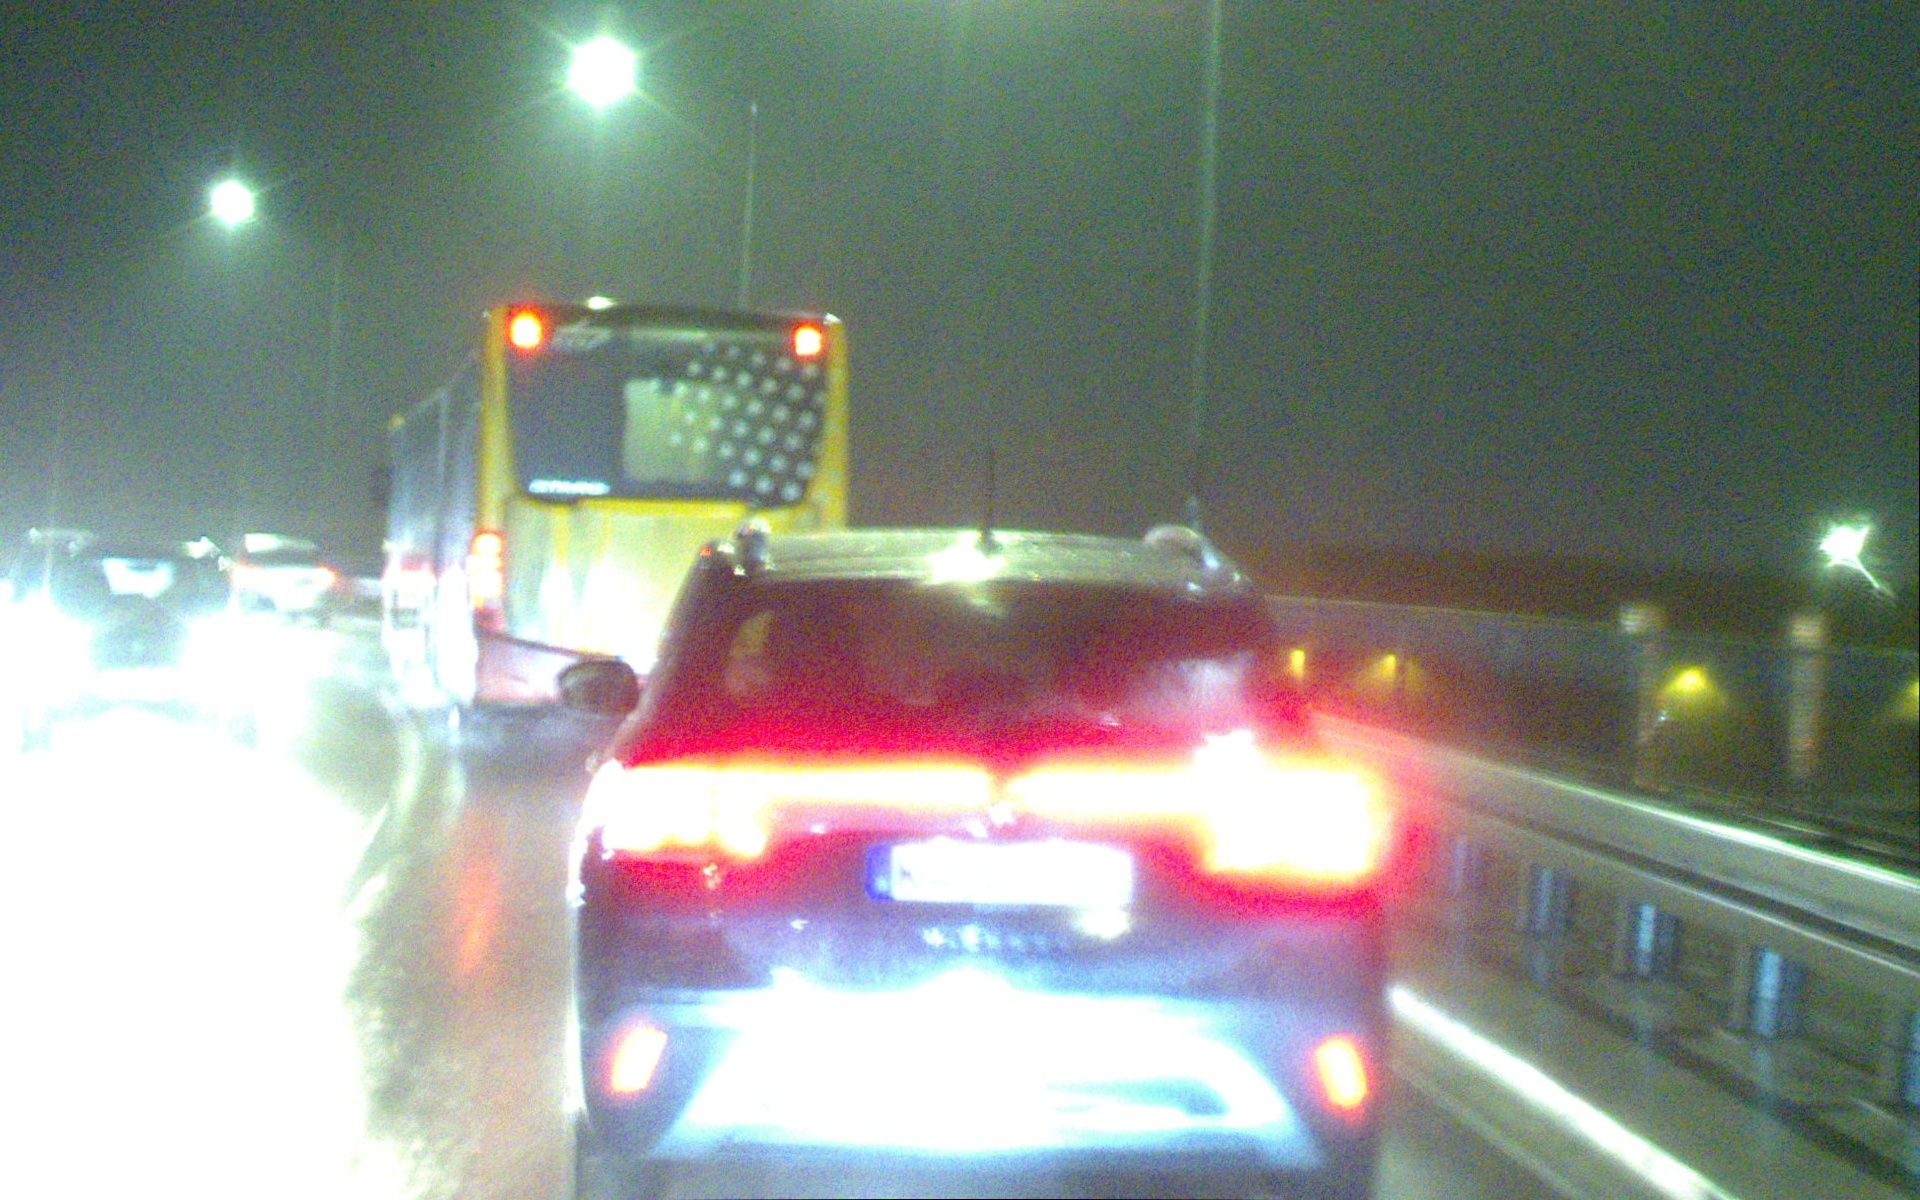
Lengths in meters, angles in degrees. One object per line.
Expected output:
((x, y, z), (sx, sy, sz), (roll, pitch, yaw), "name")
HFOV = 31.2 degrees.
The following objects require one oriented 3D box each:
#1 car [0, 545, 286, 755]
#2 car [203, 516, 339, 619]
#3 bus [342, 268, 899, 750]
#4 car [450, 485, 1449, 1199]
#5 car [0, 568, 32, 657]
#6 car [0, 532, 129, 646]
((-6.118, 0.320, 25.945), (1.895, 1.434, 4.064), (0, 1, -9), "car")
((-11.760, -0.544, 58.548), (1.636, 1.650, 3.711), (-2, 1, -21), "car")
((-3.321, -0.747, 28.769), (3.082, 3.122, 12.701), (1, 1, -13), "bus")
((-0.189, 0.588, 8.523), (1.855, 1.581, 4.001), (2, 0, -5), "car")
((-17.082, 0.190, 59.538), (1.814, 1.399, 4.049), (0, 2, -13), "car")
((-11.956, -0.168, 45.571), (1.682, 1.386, 4.452), (2, 0, -12), "car")
